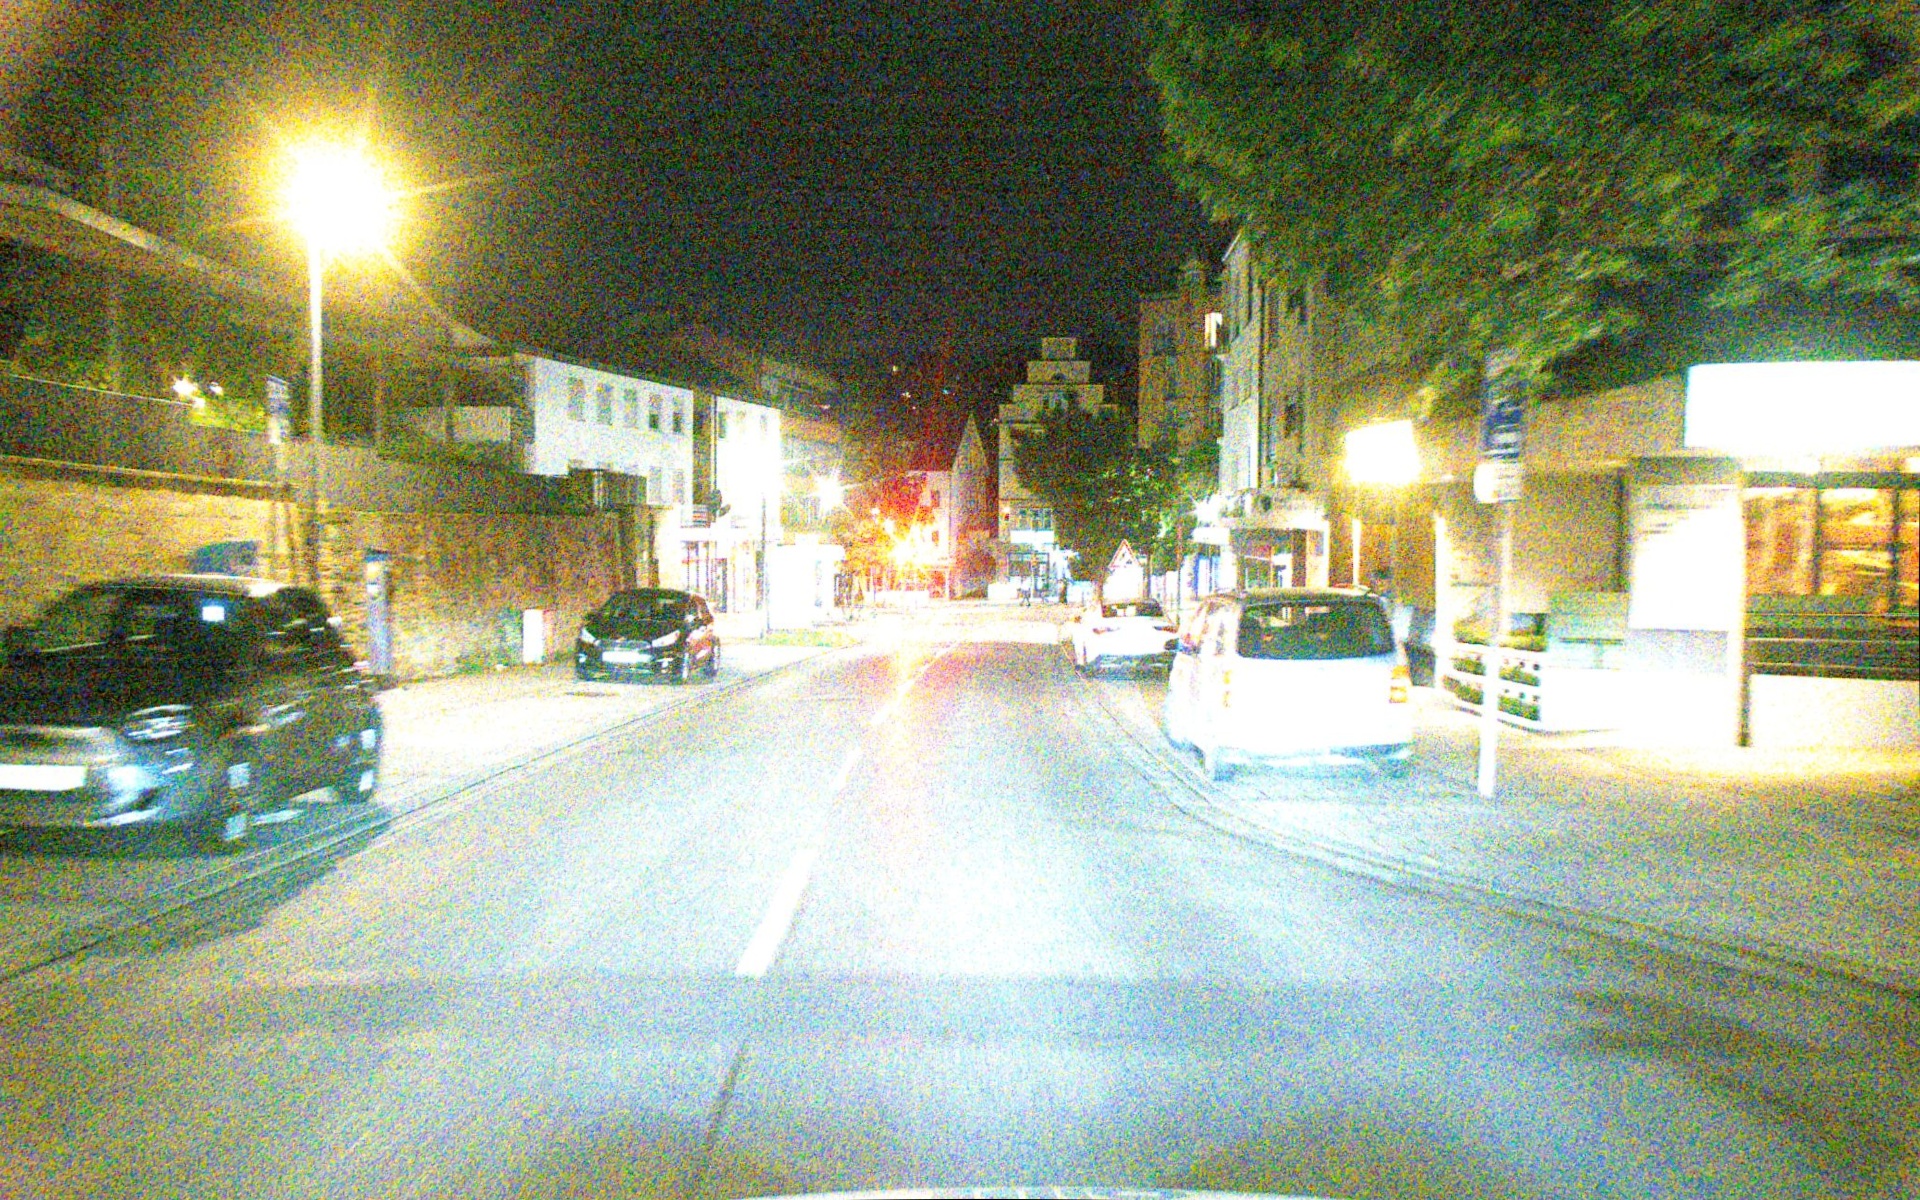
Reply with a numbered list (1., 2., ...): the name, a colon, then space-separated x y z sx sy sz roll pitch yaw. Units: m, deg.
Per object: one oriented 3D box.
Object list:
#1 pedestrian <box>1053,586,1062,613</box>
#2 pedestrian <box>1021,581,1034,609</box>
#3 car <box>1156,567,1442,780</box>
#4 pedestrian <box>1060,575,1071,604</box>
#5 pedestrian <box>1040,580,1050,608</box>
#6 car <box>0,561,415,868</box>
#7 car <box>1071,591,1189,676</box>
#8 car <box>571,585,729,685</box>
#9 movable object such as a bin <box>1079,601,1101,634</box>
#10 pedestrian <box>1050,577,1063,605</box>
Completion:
1. pedestrian: 6.510 -0.029 110.560 0.556 1.827 0.718 1 -1 1
2. pedestrian: 4.398 -0.314 107.285 0.700 1.827 0.570 1 -1 11
3. car: 2.972 0.575 15.418 1.750 1.670 4.380 -1 0 0
4. pedestrian: 6.883 -0.694 107.951 0.719 1.827 0.718 1 -1 2
5. pedestrian: 5.588 -0.383 108.461 0.556 1.827 0.718 1 -1 0
6. car: -4.812 0.605 10.325 1.658 1.550 3.689 1 -1 -2
7. car: 3.156 0.590 31.510 1.819 1.467 4.594 -1 0 1
8. car: -5.042 0.521 27.438 1.657 1.461 4.129 2 0 2
9. movable object such as a bin: 3.861 0.519 49.137 0.514 0.953 0.628 1 -1 -7
10. pedestrian: 6.297 -0.599 108.335 0.560 1.827 0.713 2 -1 -23
